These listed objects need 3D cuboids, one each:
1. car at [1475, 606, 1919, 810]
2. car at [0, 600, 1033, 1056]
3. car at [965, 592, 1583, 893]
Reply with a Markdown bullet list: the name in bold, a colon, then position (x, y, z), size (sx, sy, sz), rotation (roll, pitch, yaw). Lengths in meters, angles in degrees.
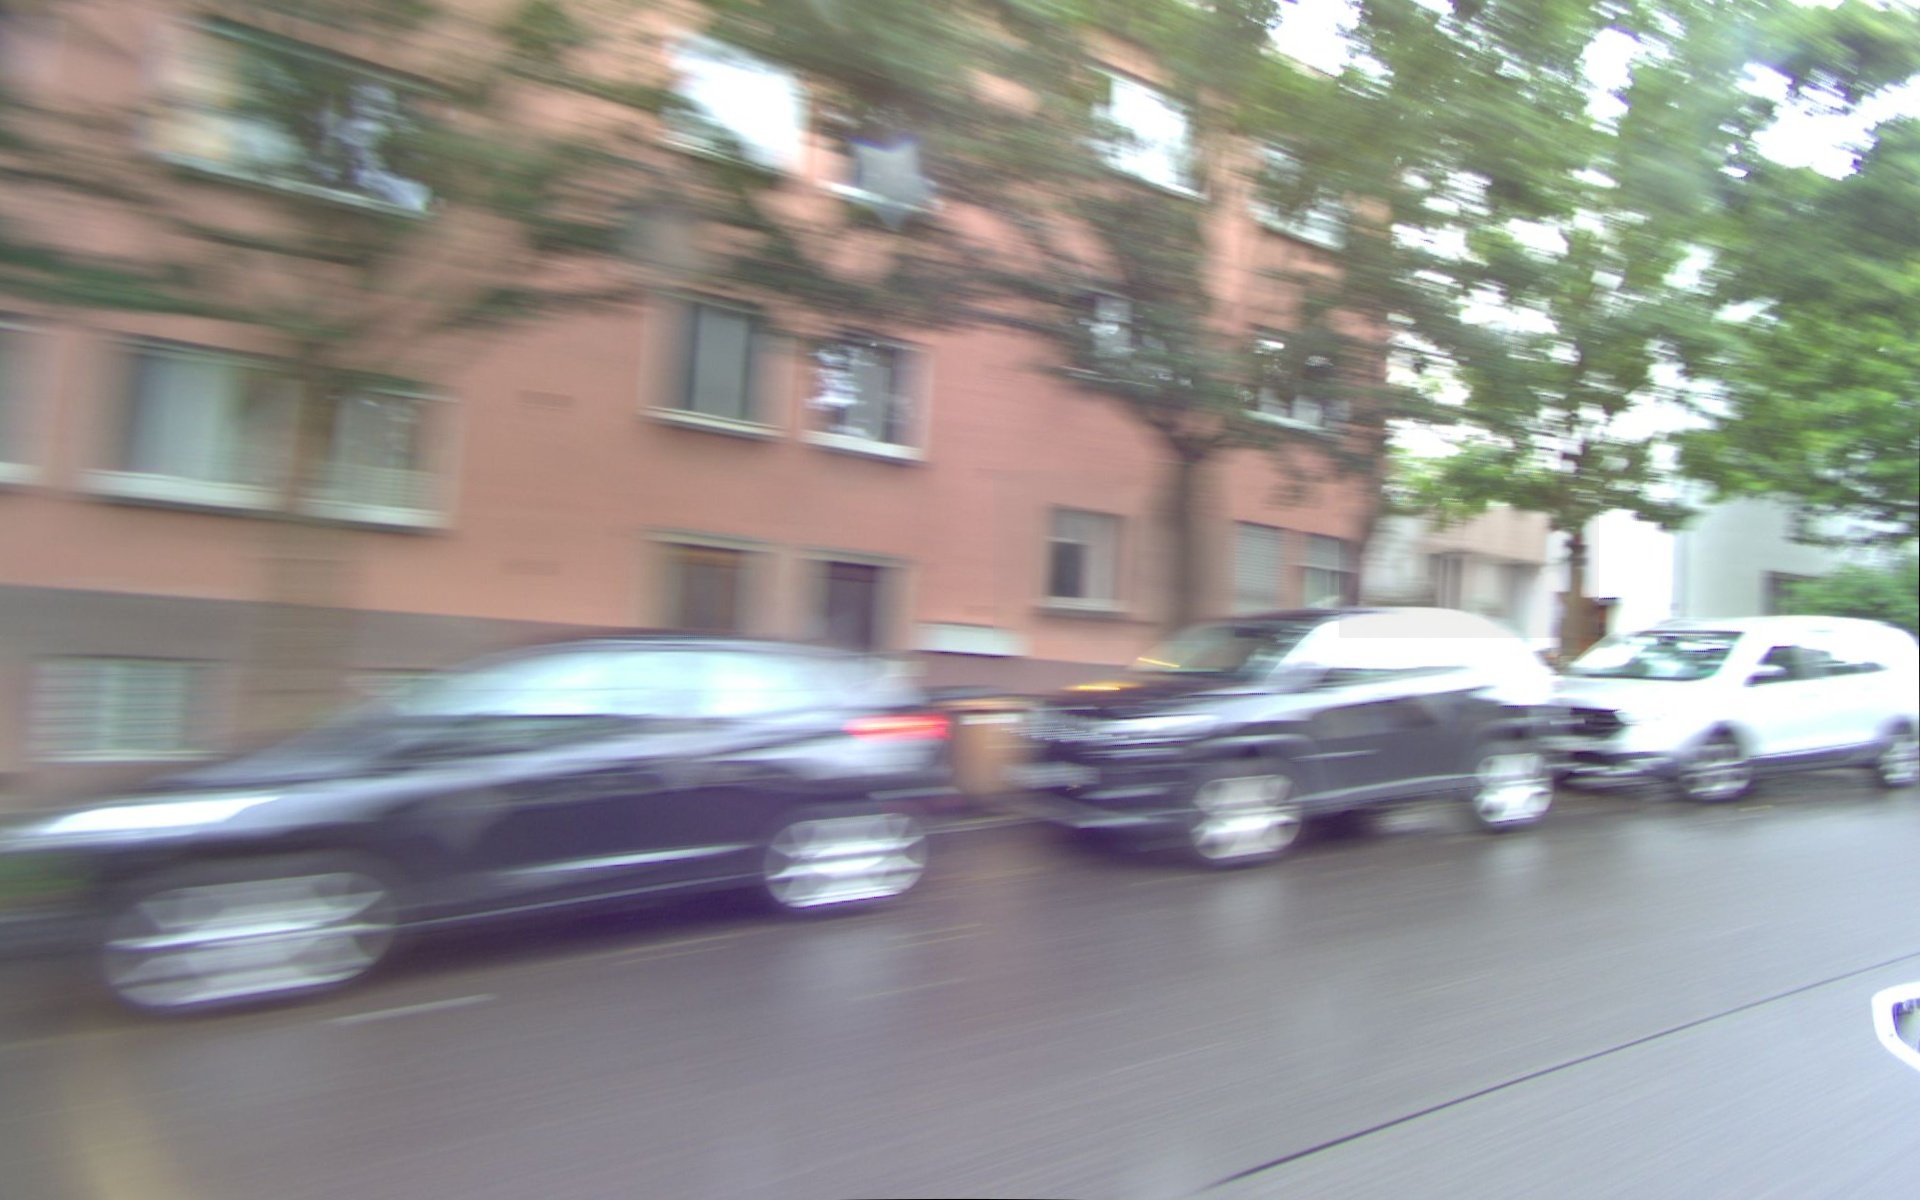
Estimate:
- **car**: position (7.579, 0.973, 10.119), size (4.533, 1.712, 1.743), rotation (1, -2, -22)
- **car**: position (-1.887, 0.828, 5.202), size (4.312, 1.513, 1.778), rotation (2, -2, -32)
- **car**: position (2.398, 0.859, 7.409), size (4.424, 1.663, 1.780), rotation (1, -2, -28)
